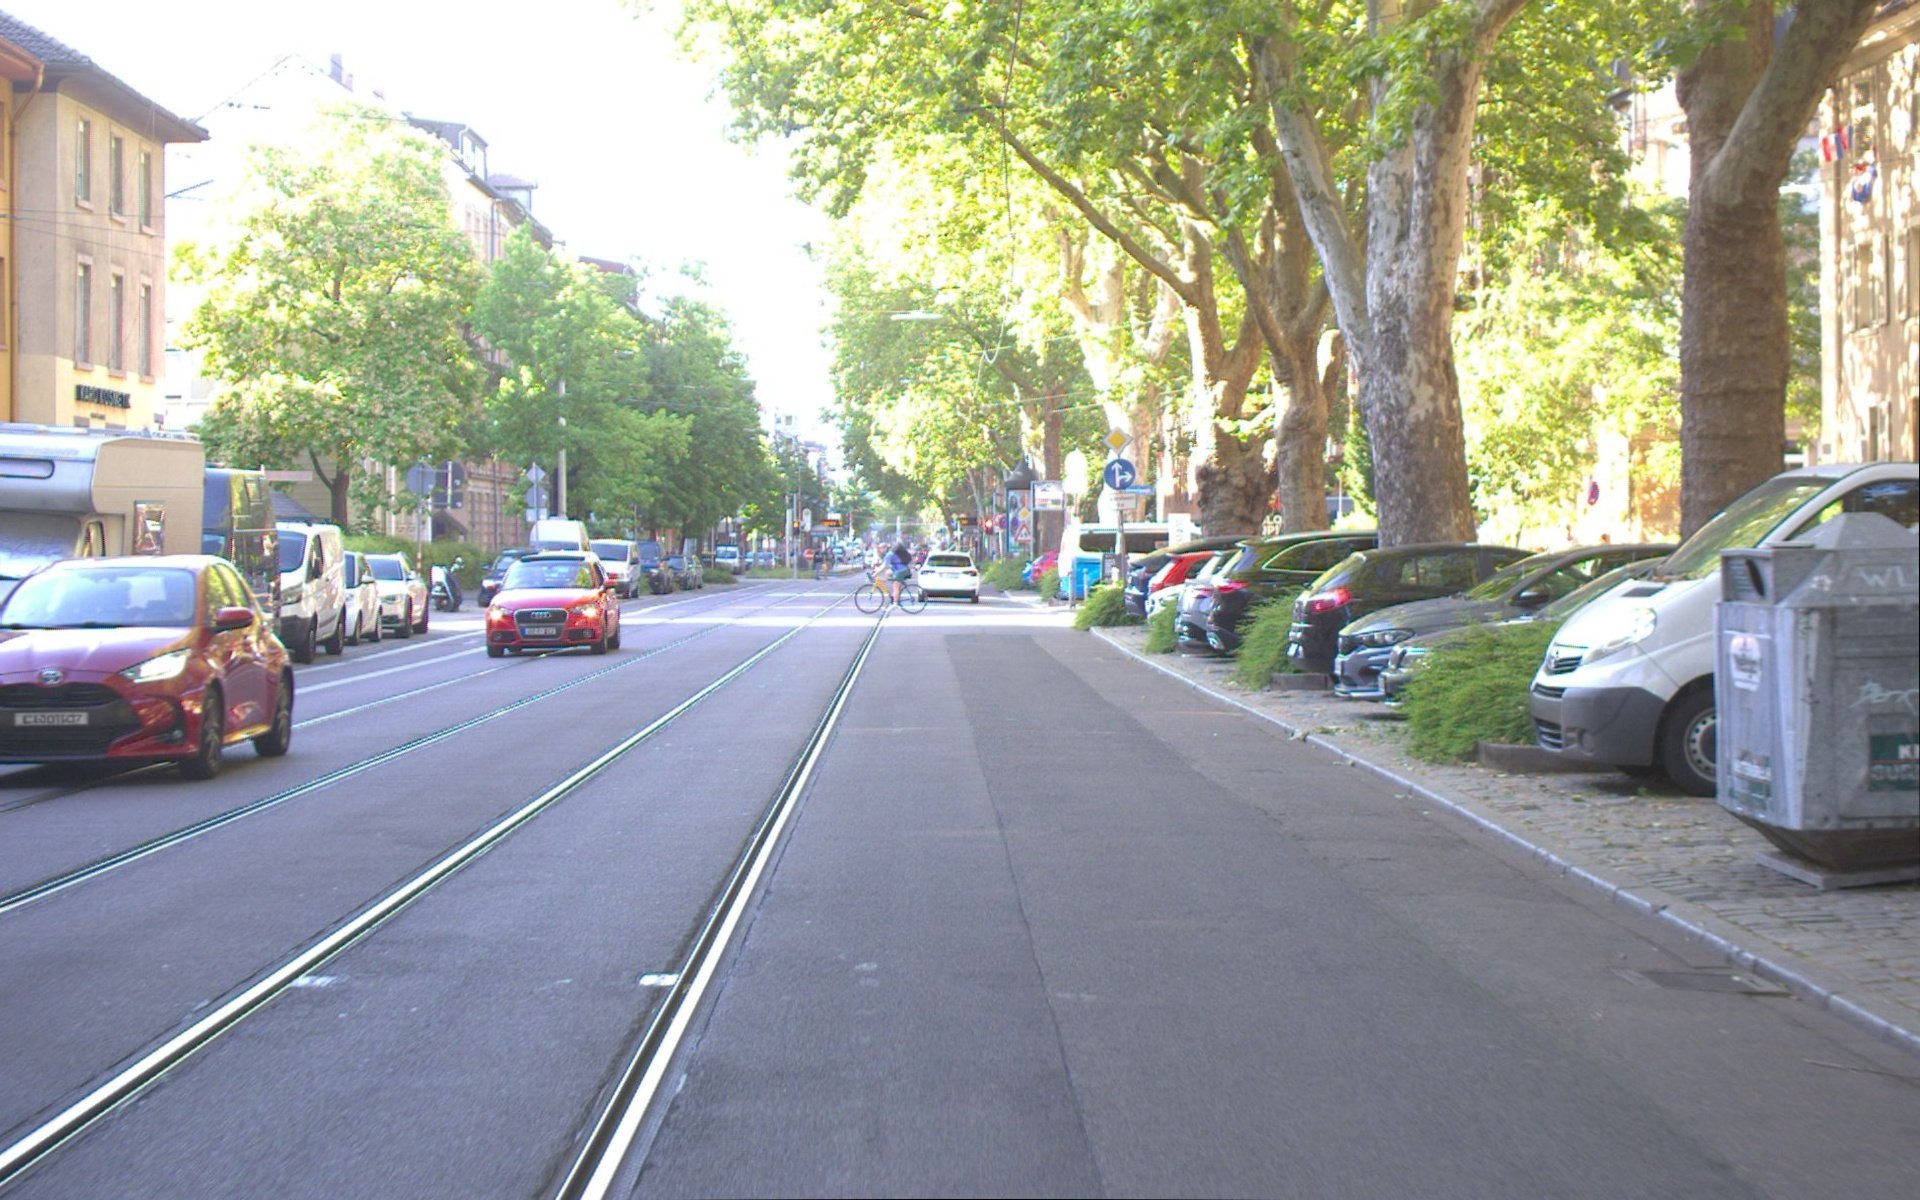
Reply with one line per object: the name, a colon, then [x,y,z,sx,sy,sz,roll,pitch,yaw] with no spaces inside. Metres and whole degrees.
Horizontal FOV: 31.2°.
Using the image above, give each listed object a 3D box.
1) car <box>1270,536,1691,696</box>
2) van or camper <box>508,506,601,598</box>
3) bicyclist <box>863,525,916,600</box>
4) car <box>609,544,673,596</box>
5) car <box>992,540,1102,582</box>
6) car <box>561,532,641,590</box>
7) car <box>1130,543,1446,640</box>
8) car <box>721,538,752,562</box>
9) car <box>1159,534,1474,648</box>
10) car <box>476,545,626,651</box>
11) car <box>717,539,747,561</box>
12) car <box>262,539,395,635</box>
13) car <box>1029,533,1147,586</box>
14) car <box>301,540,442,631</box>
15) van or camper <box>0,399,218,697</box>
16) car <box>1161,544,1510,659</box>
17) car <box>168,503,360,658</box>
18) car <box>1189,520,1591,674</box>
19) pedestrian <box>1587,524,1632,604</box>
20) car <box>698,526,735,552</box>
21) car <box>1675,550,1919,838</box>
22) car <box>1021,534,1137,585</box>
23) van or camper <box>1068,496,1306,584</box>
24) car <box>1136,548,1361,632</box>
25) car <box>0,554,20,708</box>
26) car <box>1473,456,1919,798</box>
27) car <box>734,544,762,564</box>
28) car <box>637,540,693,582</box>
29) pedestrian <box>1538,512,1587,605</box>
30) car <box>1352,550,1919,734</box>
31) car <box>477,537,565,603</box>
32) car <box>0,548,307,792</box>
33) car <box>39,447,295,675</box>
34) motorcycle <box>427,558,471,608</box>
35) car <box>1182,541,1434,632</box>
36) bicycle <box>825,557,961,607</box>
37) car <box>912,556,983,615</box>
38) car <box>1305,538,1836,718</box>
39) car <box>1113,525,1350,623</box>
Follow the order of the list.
car: [5.050,0.140,33.674,3.838,1.504,1.711,0,1,-1]
van or camper: [-11.550,-1.381,98.194,2.079,2.524,5.318,0,1,-1]
bicyclist: [-1.611,-0.858,78.309,1.045,1.699,1.058,-1,1,-10]
car: [-11.796,-1.131,127.294,1.993,1.854,4.179,0,1,-1]
car: [3.189,-1.441,126.666,3.987,1.515,2.000,0,1,0]
car: [-11.768,-1.296,112.874,2.173,1.854,4.659,0,1,-1]
car: [5.029,-0.141,53.177,4.686,1.441,1.892,0,1,0]
car: [-14.821,-3.306,228.055,1.918,1.414,3.591,-3,0,-5]
car: [4.858,-0.139,47.248,4.142,1.504,1.796,0,1,0]
car: [-5.916,-0.061,50.084,1.723,1.432,4.069,-2,1,-1]
car: [-14.827,-3.247,223.810,1.918,1.414,3.591,0,1,-3]
car: [-10.500,-0.228,57.333,1.572,1.521,3.040,1,1,1]
car: [4.414,-1.401,118.815,3.987,1.778,2.000,0,1,0]
car: [-10.532,-0.294,61.812,1.836,1.463,5.070,3,1,-3]
van or camper: [-10.266,-0.630,38.590,2.337,3.030,6.397,3,1,0]
car: [4.847,-0.002,44.786,4.295,1.434,1.948,0,1,-1]
car: [-10.305,-0.344,51.269,1.952,2.084,5.249,3,2,-3]
car: [4.976,-0.055,40.306,4.497,1.596,2.027,-2,1,4]
pedestrian: [11.973,-0.668,63.348,0.661,1.450,0.821,0,1,-1]
car: [-13.532,-3.392,191.479,1.918,1.414,3.721,-1,1,-2]
car: [5.763,0.456,18.278,3.526,1.441,1.673,0,1,-3]
car: [4.166,-1.435,121.098,3.987,1.778,2.000,0,1,0]
van or camper: [5.533,-1.490,84.212,5.554,2.006,2.245,-1,4,-5]
car: [4.841,-0.181,58.046,3.650,1.373,1.890,0,1,0]
car: [-10.136,0.297,32.094,1.710,1.483,3.862,3,1,-2]
car: [5.715,0.125,20.863,4.835,1.956,2.065,0,1,-3]
car: [-15.154,-3.298,245.907,1.918,1.414,3.591,0,1,-3]
car: [-12.265,-1.641,143.213,1.993,1.739,4.659,0,1,-1]
pedestrian: [11.324,-0.776,64.594,0.760,1.733,0.821,0,1,-1]
car: [5.329,0.308,26.888,4.397,1.376,1.804,0,1,4]
car: [-11.330,-0.798,88.968,1.787,1.581,4.344,3,1,-2]
car: [-5.689,0.406,23.239,1.775,1.453,4.203,-2,1,-1]
car: [-10.324,-0.537,45.206,2.086,2.722,5.310,3,1,-1]
motorcycle: [-12.610,-0.427,84.857,0.763,1.103,2.330,0,3,-1]
car: [5.596,-0.227,55.632,3.882,1.430,1.754,0,1,0]
bicycle: [-1.530,-0.412,78.324,2.947,1.101,1.052,-1,1,-10]
car: [-0.368,-0.425,96.916,1.918,1.579,3.791,-2,1,-1]
car: [5.213,0.217,29.767,4.247,1.478,1.898,0,1,-1]
car: [4.725,-0.474,60.265,3.923,1.664,1.961,0,1,-2]
